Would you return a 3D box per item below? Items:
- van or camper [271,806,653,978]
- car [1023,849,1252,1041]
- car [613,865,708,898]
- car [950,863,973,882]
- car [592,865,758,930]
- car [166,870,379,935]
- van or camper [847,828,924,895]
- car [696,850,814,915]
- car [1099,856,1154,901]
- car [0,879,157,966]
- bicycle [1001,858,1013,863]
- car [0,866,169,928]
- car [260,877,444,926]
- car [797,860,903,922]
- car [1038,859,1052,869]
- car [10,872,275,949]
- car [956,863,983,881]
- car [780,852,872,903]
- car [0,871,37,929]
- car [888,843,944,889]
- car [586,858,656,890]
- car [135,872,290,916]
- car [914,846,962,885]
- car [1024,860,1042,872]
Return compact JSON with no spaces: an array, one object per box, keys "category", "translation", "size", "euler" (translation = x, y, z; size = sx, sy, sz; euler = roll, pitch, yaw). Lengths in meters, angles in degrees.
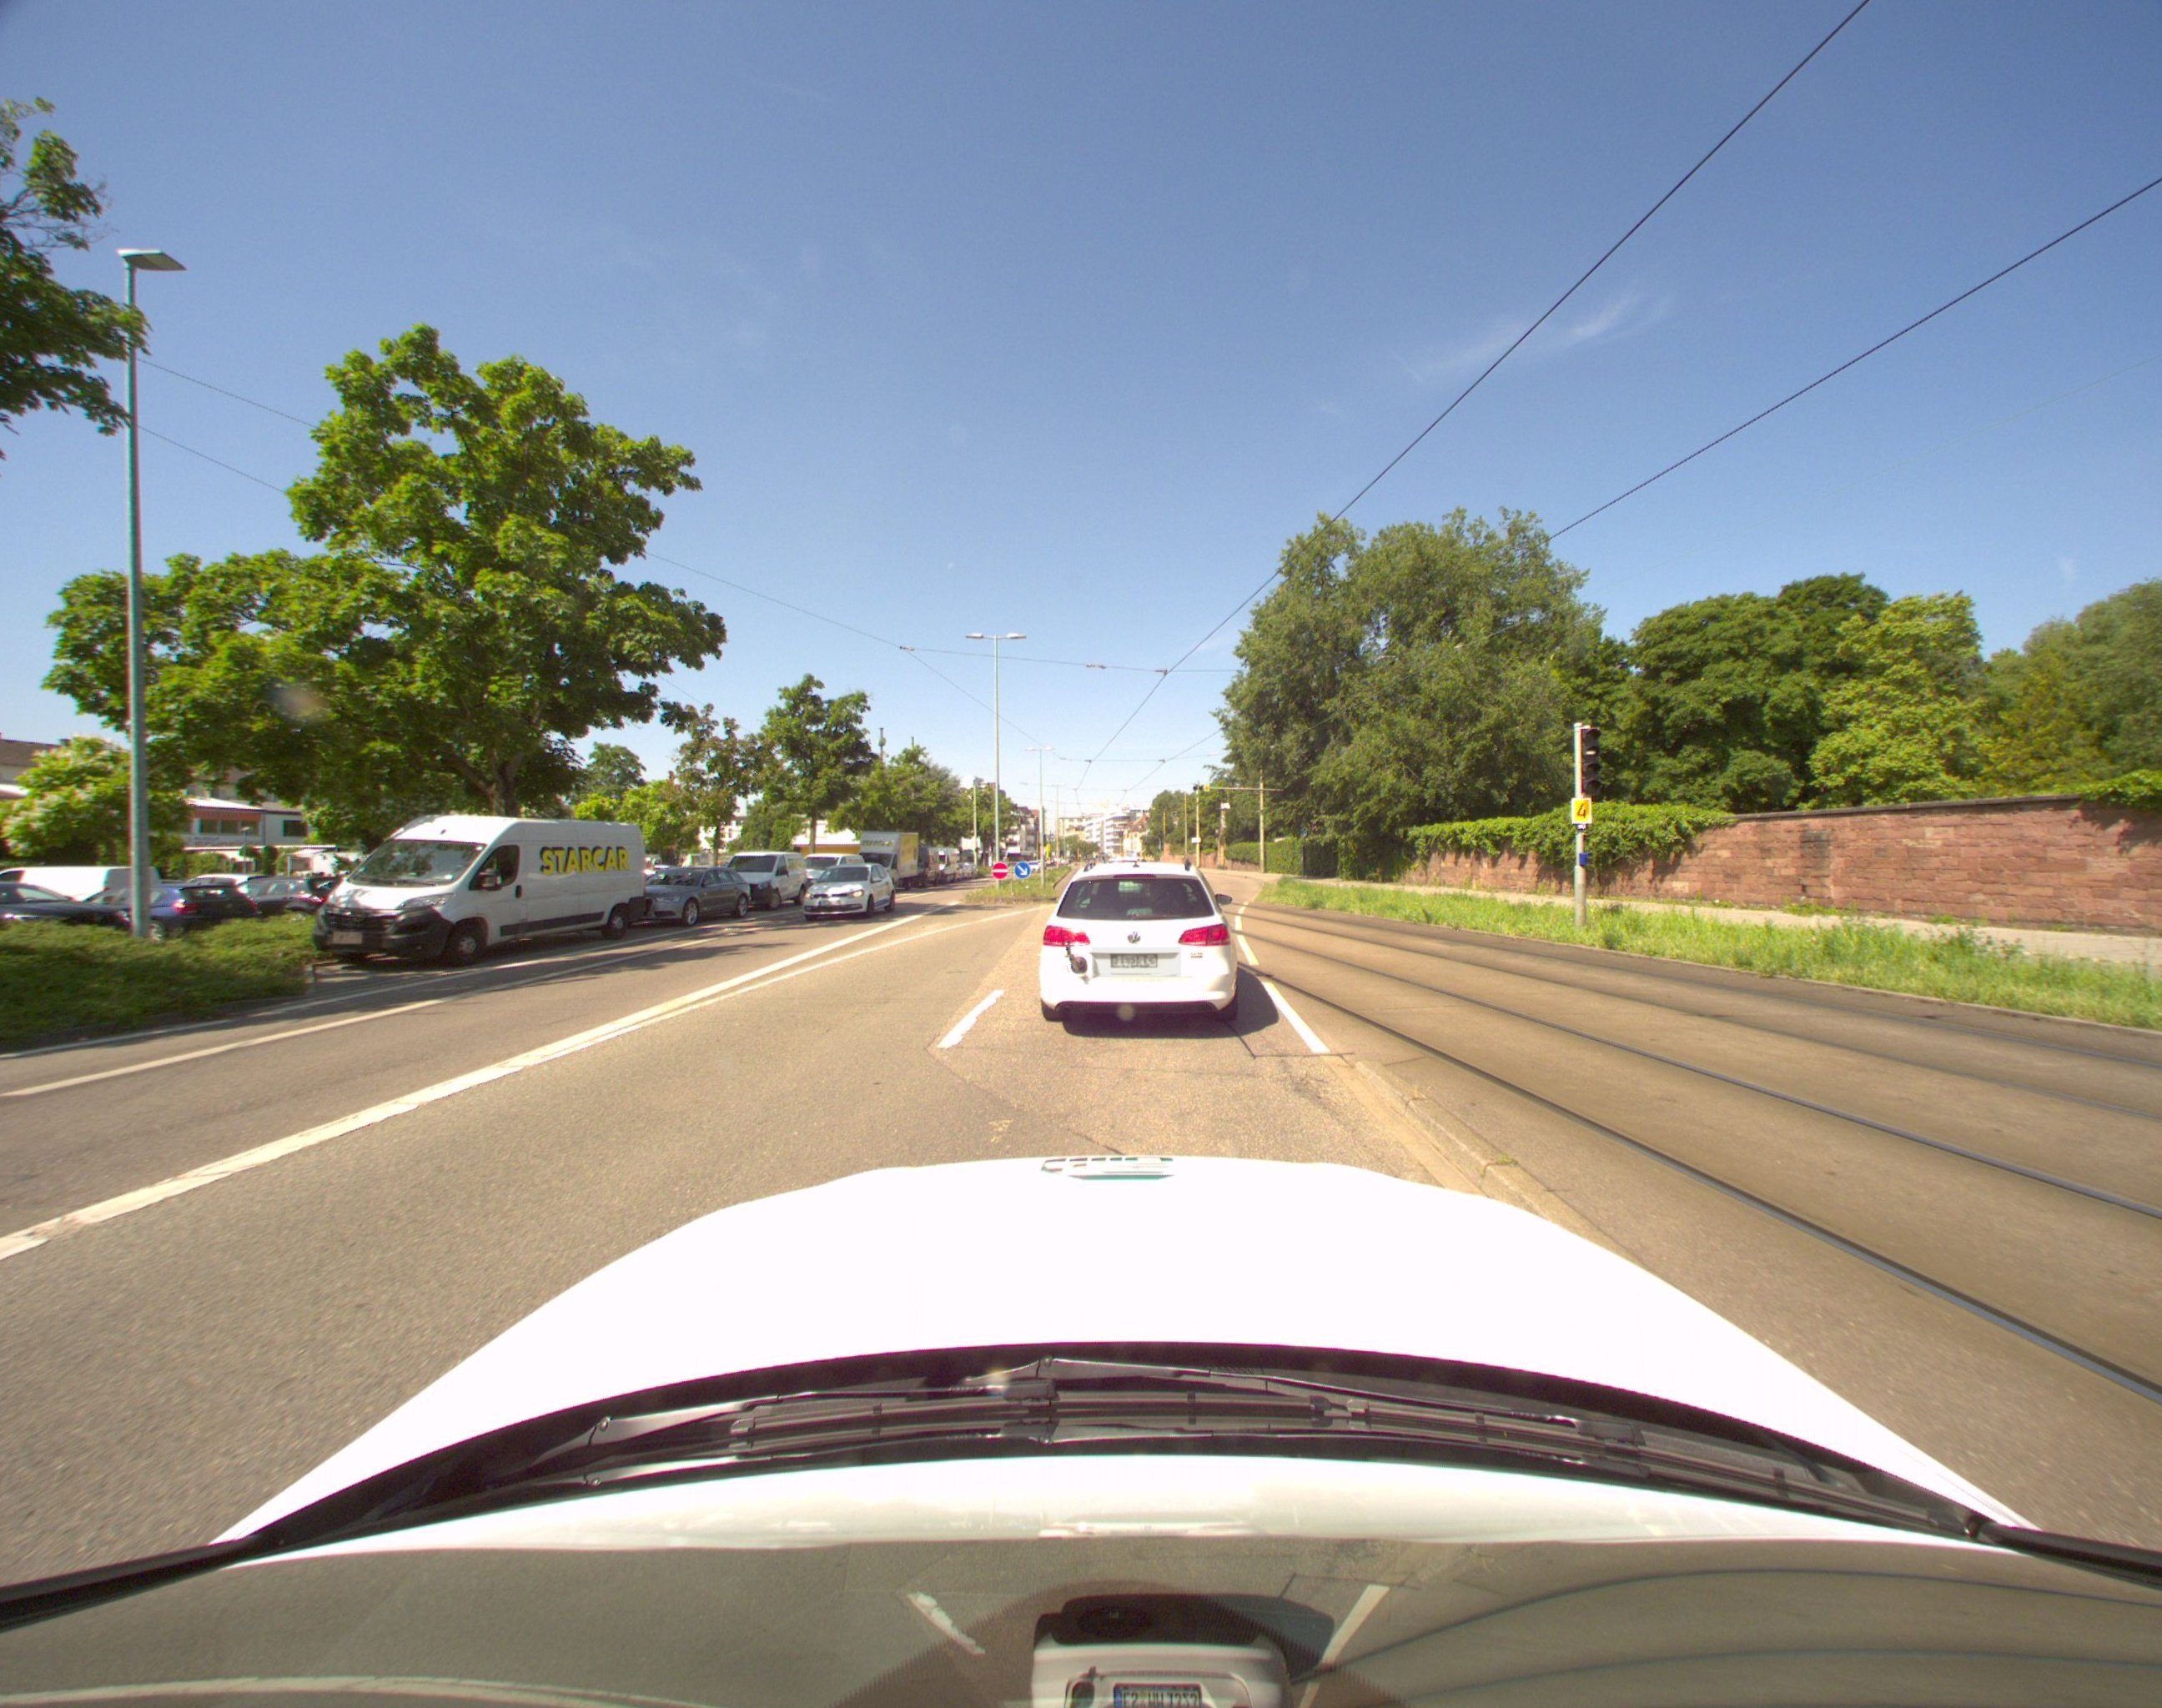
[{"category":"van or camper","translation":[-10.843,0.571,15.202],"size":[2.249,2.514,6.149],"euler":[-1,0,2]},{"category":"car","translation":[0.666,0.728,8.329],"size":[1.769,1.490,3.854],"euler":[-1,0,7]},{"category":"car","translation":[-21.555,1.404,41.839],"size":[3.975,1.544,1.663],"euler":[-1,-1,-1]},{"category":"car","translation":[-10.080,1.566,68.777],"size":[1.287,1.490,4.350],"euler":[1,0,0]},{"category":"car","translation":[-10.504,1.049,21.577],"size":[1.926,1.454,4.885],"euler":[-1,0,0]},{"category":"car","translation":[-21.497,1.265,21.760],"size":[3.975,1.544,1.663],"euler":[-1,-1,-1]},{"category":"van or camper","translation":[-10.210,0.386,43.192],"size":[2.188,3.241,6.774],"euler":[1,0,2]},{"category":"car","translation":[-10.963,0.892,27.875],"size":[2.191,1.941,5.177],"euler":[-1,0,-4]},{"category":"car","translation":[1.846,0.893,31.658],"size":[1.720,1.596,4.021],"euler":[0,0,9]},{"category":"car","translation":[-21.061,1.336,15.921],"size":[3.976,1.544,1.662],"euler":[-1,-1,-2]},{"category":"bicycle","translation":[-12.606,1.120,139.200],"size":[0.546,0.921,2.190],"euler":[-2,0,43]},{"category":"car","translation":[-33.225,1.399,26.888],"size":[3.979,1.891,1.783],"euler":[-1,0,-4]},{"category":"car","translation":[-21.573,1.378,24.209],"size":[3.903,1.271,1.663],"euler":[-1,-1,-1]},{"category":"car","translation":[-6.146,0.932,22.155],"size":[1.722,1.465,3.999],"euler":[-1,0,0]},{"category":"car","translation":[-5.906,1.609,134.776],"size":[2.036,1.597,4.659],"euler":[-1,0,0]},{"category":"car","translation":[-21.239,1.248,18.549],"size":[3.976,1.544,1.662],"euler":[-1,-1,-2]},{"category":"car","translation":[-10.108,1.616,74.010],"size":[1.598,1.490,4.619],"euler":[1,0,2]},{"category":"car","translation":[-10.745,0.935,34.739],"size":[2.188,1.941,5.185],"euler":[-1,0,0]},{"category":"car","translation":[-34.442,1.423,24.350],"size":[3.979,1.728,1.733],"euler":[-1,0,-4]},{"category":"car","translation":[-10.241,0.706,51.118],"size":[2.188,2.668,6.079],"euler":[1,0,1]},{"category":"car","translation":[-33.638,1.419,59.607],"size":[3.979,2.200,1.908],"euler":[-1,0,-4]},{"category":"car","translation":[-34.019,1.558,31.996],"size":[3.979,1.544,1.783],"euler":[-1,0,-4]},{"category":"car","translation":[-10.066,0.791,57.835],"size":[2.188,2.631,5.979],"euler":[1,0,1]},{"category":"car","translation":[-5.794,1.412,98.605],"size":[1.785,1.422,4.335],"euler":[-1,0,0]}]
